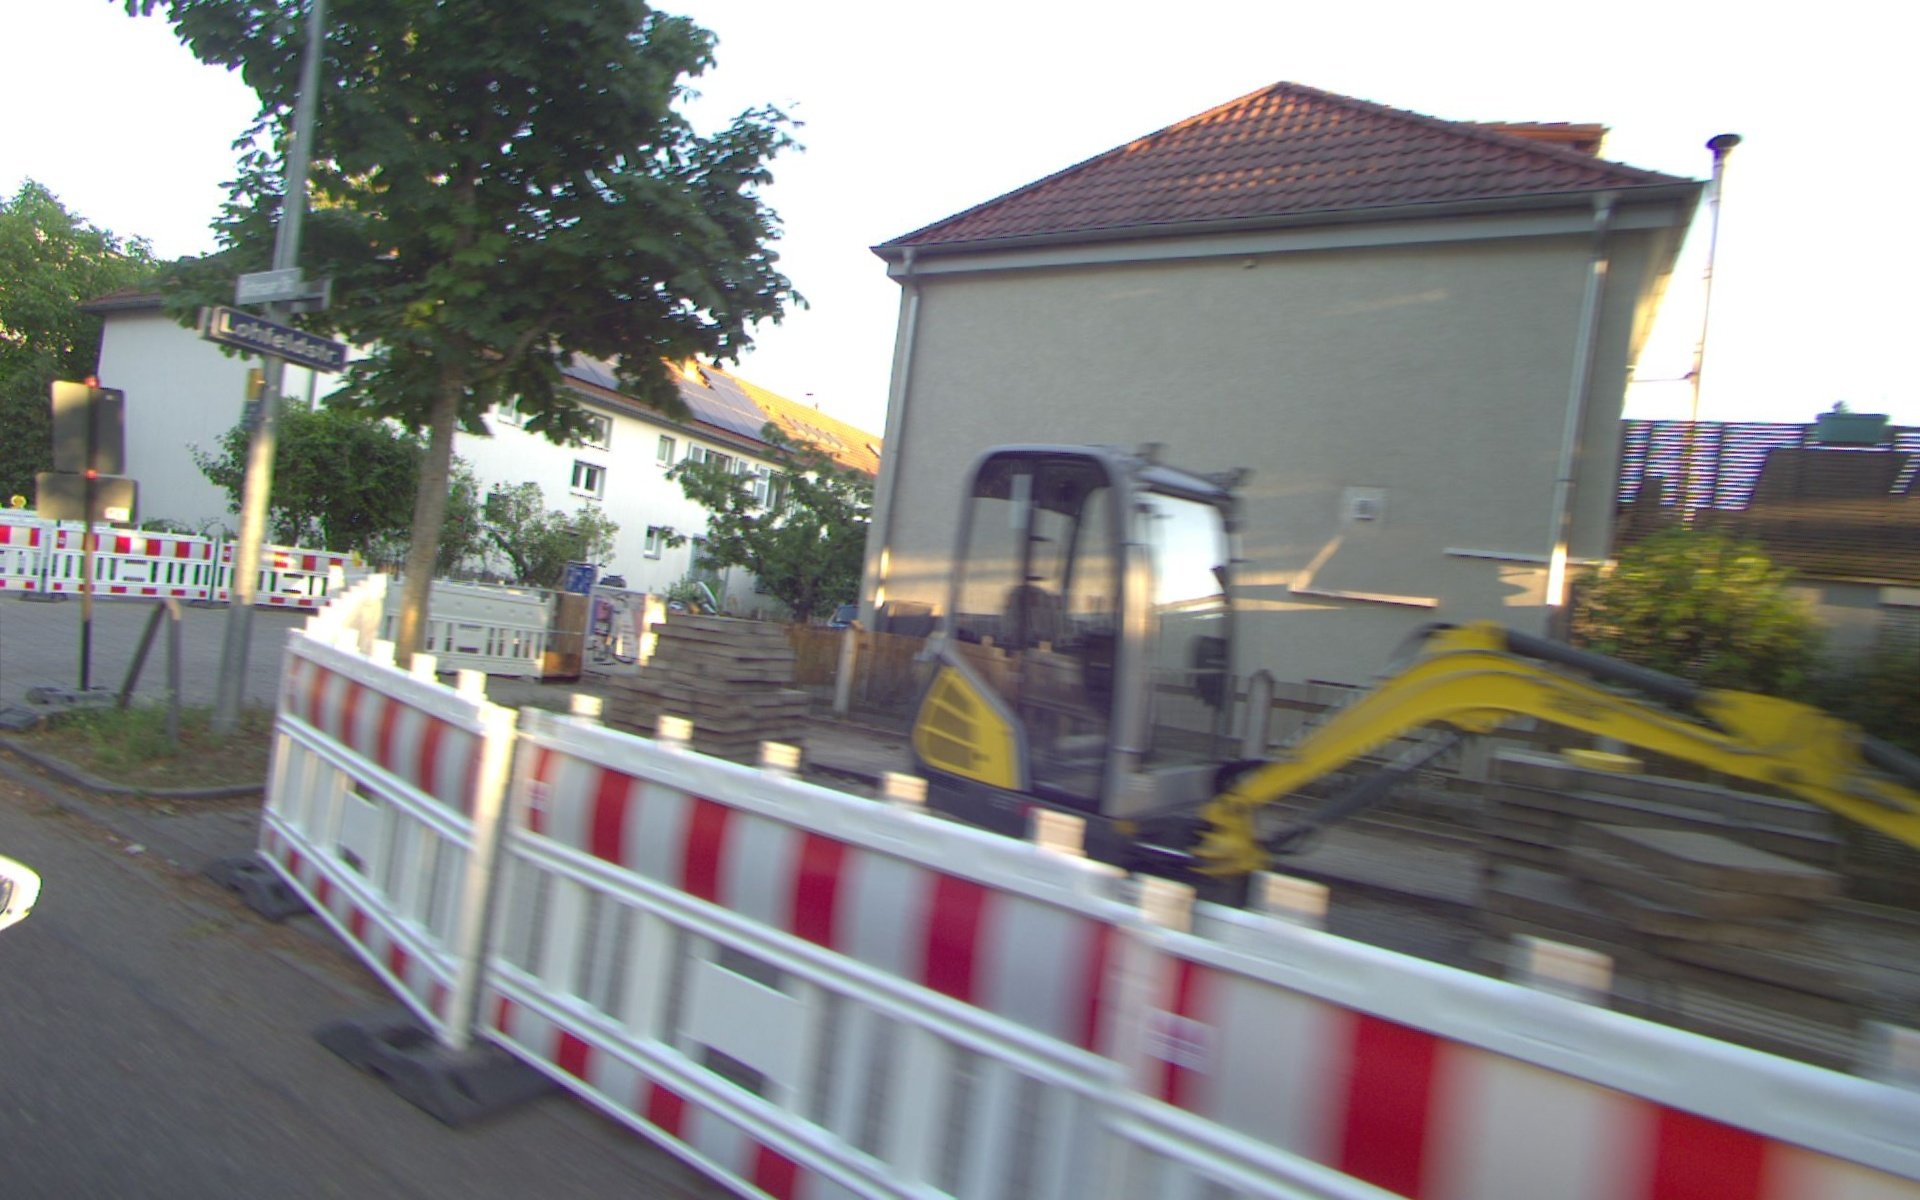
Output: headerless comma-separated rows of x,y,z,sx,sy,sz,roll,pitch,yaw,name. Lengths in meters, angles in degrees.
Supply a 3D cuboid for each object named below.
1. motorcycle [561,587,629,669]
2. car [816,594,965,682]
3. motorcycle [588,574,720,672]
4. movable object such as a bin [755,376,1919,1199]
-5.881,0.429,16.140,0.575,1.118,1.832,9,-1,-30,motorcycle
-1.596,0.960,24.328,1.691,1.656,3.630,8,-2,31,car
-5.438,0.412,17.989,2.048,1.433,0.596,9,-1,-13,motorcycle
2.135,0.694,4.323,5.105,2.430,2.637,8,-1,26,movable object such as a bin
